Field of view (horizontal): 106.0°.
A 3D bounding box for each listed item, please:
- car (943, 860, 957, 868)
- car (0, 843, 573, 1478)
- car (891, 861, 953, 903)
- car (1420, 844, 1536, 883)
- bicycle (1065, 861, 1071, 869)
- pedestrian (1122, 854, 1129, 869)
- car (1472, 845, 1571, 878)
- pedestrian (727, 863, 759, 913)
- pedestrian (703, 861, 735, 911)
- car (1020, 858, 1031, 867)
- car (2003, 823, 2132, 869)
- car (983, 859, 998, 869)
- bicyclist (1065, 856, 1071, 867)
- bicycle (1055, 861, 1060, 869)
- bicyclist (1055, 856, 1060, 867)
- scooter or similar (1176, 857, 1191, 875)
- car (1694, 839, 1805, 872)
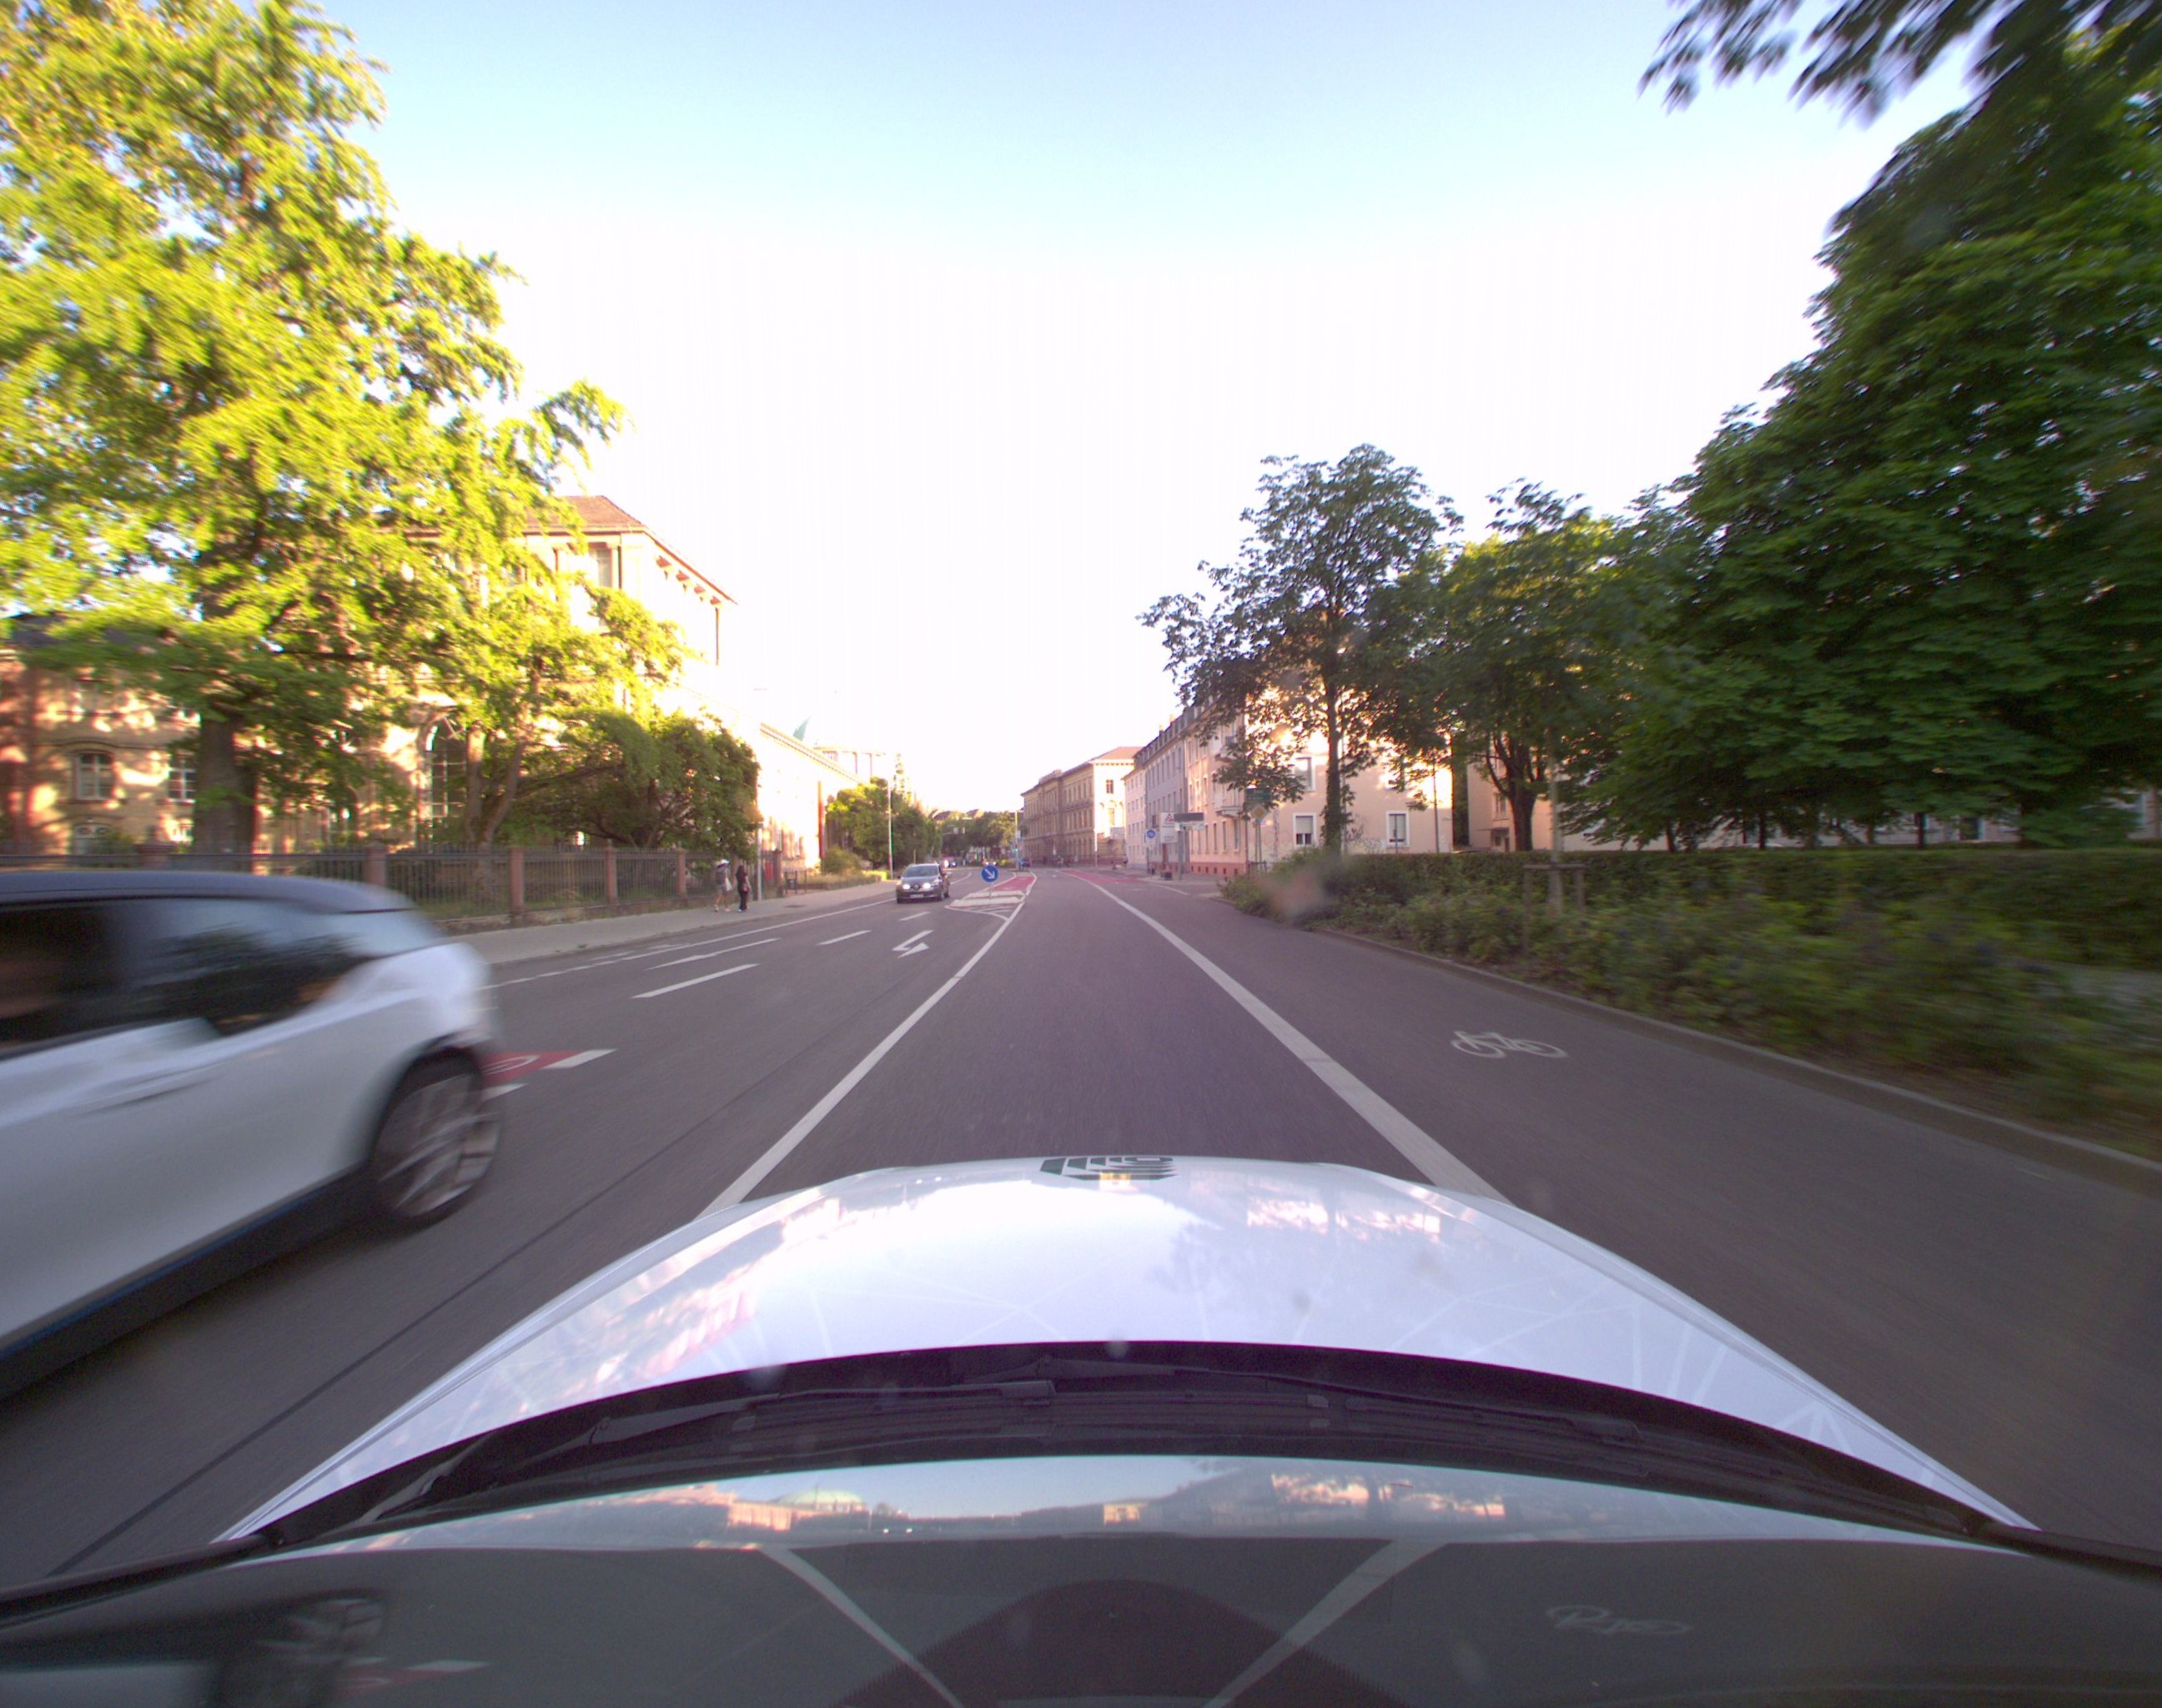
[{"bbox_3d":[-26.425,1.953,164.196,2.003,1.585,3.968,-1,0,-24],"label":"car"},{"bbox_3d":[-3.566,0.777,2.291,1.844,1.526,3.995,-3,0,-3],"label":"car"},{"bbox_3d":[-6.186,1.033,32.068,1.832,1.439,3.994,-3,0,-4],"label":"car"},{"bbox_3d":[17.578,0.424,36.199,4.225,1.481,1.872,-3,-1,2],"label":"car"},{"bbox_3d":[-1.761,1.524,109.131,0.649,1.015,2.198,1,0,1],"label":"bicycle"},{"bbox_3d":[5.362,0.887,97.855,0.758,1.755,0.845,-1,-1,4],"label":"pedestrian"},{"bbox_3d":[23.484,0.391,43.547,4.223,1.481,1.873,-3,-1,4],"label":"car"},{"bbox_3d":[-11.191,1.113,26.981,0.677,1.622,0.690,-1,0,8],"label":"pedestrian"},{"bbox_3d":[-11.968,1.054,26.952,0.677,1.622,0.690,-1,0,6],"label":"pedestrian"},{"bbox_3d":[-9.662,1.528,141.493,1.865,1.510,3.993,0,0,-5],"label":"car"},{"bbox_3d":[51.902,-0.402,42.901,4.223,2.139,1.873,-3,-1,4],"label":"car"},{"bbox_3d":[-14.917,1.638,133.870,1.996,1.585,3.981,-1,0,-14],"label":"car"},{"bbox_3d":[-1.752,1.000,109.140,0.650,1.475,0.941,1,0,0],"label":"bicyclist"},{"bbox_3d":[-3.117,1.497,109.088,0.650,1.015,2.198,1,0,0],"label":"bicycle"},{"bbox_3d":[-3.103,1.060,109.184,0.650,1.446,0.879,1,0,0],"label":"bicyclist"},{"bbox_3d":[8.201,0.952,65.435,0.629,1.337,2.394,-1,0,-7],"label":"scooter or similar"},{"bbox_3d":[35.369,0.105,43.177,4.223,1.481,1.873,-3,-1,4],"label":"car"}]
